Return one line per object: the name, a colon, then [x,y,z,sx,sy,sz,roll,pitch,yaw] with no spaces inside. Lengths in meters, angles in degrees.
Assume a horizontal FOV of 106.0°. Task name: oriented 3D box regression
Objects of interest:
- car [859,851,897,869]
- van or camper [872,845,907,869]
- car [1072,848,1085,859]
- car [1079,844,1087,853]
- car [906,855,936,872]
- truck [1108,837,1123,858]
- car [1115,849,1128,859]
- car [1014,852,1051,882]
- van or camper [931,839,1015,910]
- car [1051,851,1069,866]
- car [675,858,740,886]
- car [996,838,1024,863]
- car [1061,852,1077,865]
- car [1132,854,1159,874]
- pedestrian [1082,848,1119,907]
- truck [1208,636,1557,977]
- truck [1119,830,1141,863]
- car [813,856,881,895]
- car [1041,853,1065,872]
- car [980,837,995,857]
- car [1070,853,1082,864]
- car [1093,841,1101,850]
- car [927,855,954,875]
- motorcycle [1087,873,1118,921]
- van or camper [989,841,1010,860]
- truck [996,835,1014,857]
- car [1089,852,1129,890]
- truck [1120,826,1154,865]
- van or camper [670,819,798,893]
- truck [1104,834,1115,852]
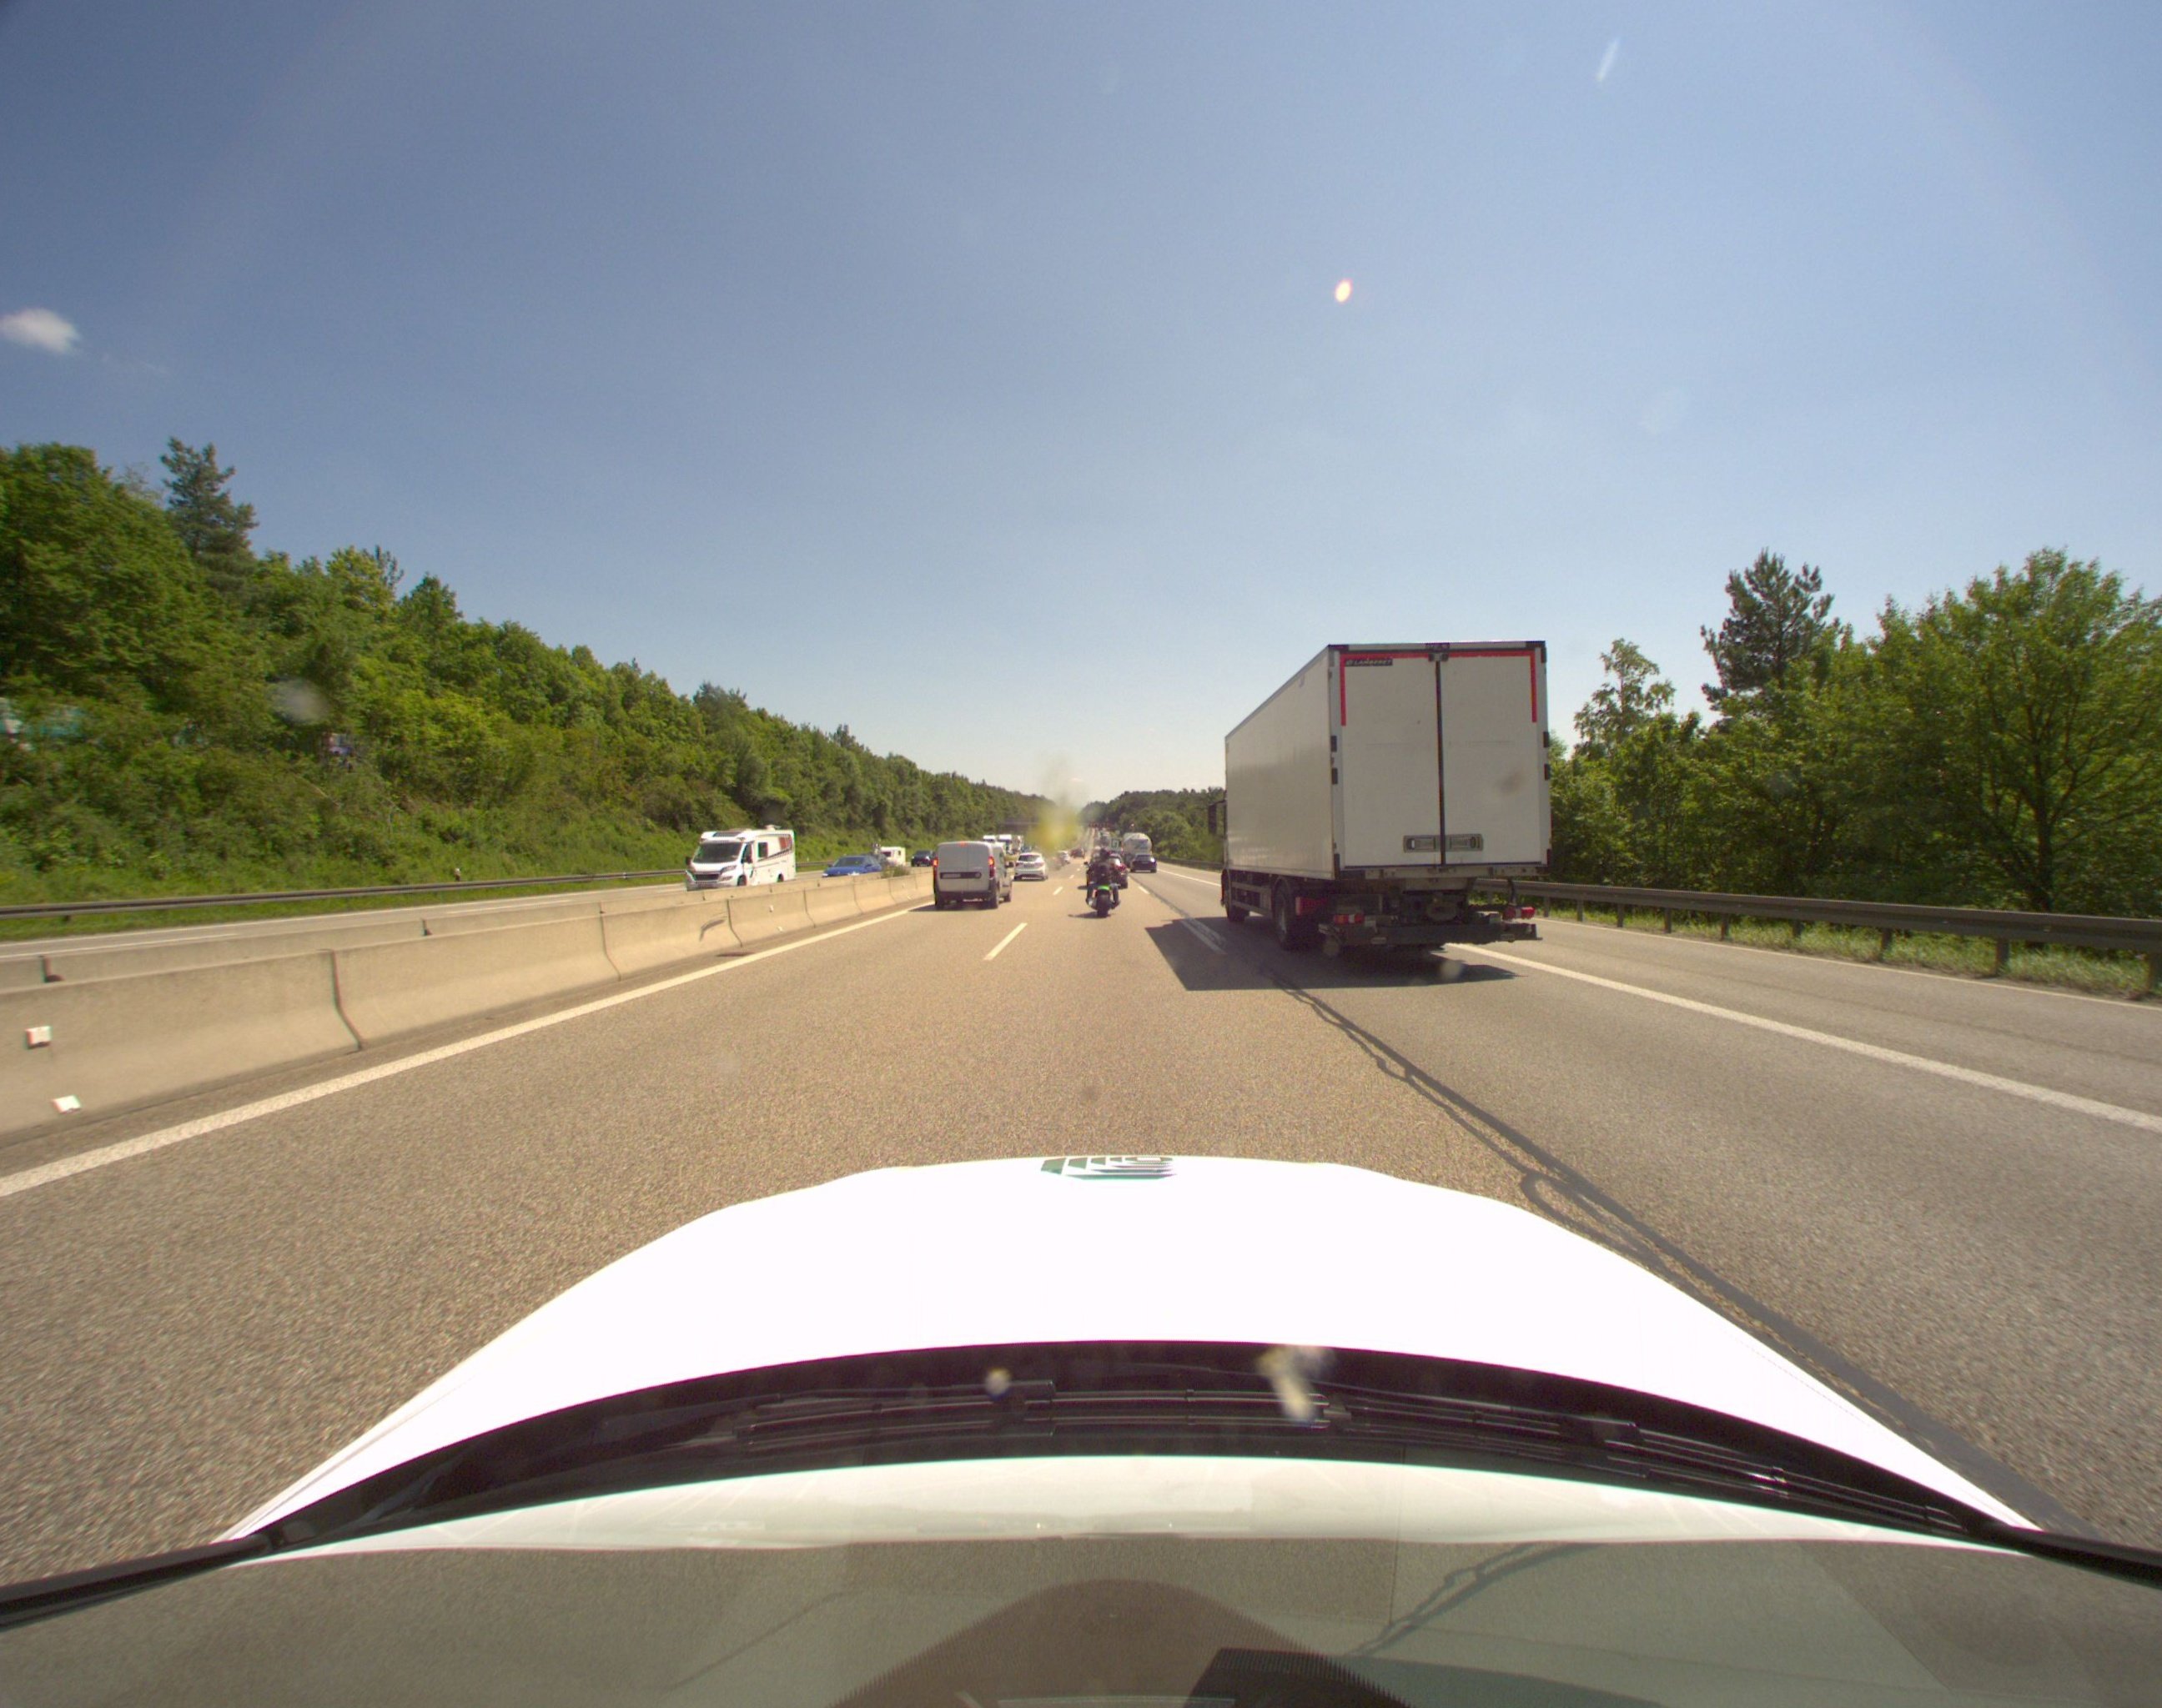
car: [-16.585,0.460,66.736,1.794,1.347,4.725,-1,0,1]
van or camper: [-16.783,0.225,71.472,2.068,1.976,3.706,-1,0,2]
car: [-0.387,-0.067,135.041,1.873,1.859,4.001,1,0,1]
car: [0.504,-1.394,208.020,1.922,2.014,4.001,-1,0,2]
car: [-16.310,0.899,83.131,1.918,1.639,4.929,-1,0,1]
truck: [7.549,-1.422,180.133,3.022,4.542,9.985,2,1,1]
car: [6.139,0.012,123.405,1.781,1.555,3.804,1,1,1]
car: [-2.613,0.679,44.663,1.693,1.478,4.001,1,1,1]
van or camper: [-3.095,0.566,24.141,1.789,1.892,4.161,-1,0,2]
car: [-2.129,0.470,83.328,1.693,1.478,4.001,1,1,1]
car: [-21.466,1.006,47.036,1.571,1.462,4.390,-1,0,2]
car: [-5.771,-0.244,66.498,1.886,1.948,3.999,-1,0,-1]
car: [-1.365,0.472,95.382,1.693,1.478,4.001,1,1,1]
car: [4.922,0.747,62.682,1.822,1.470,4.001,1,1,1]
pedestrian: [0.482,0.559,19.556,0.846,1.362,0.962,-1,0,2]
truck: [4.271,-0.569,14.392,2.678,3.876,9.783,-2,0,2]
truck: [5.470,-0.806,91.918,1.988,3.522,4.748,-1,0,-1]
car: [-10.287,0.908,36.076,1.705,1.538,4.129,-1,0,1]
car: [-2.249,0.680,66.779,1.693,1.478,4.001,1,1,1]
car: [-19.466,-1.431,169.473,2.440,3.873,4.566,-1,0,1]
car: [-0.977,0.823,149.716,1.986,2.014,4.001,-1,0,2]
car: [4.880,-2.665,244.607,2.495,2.587,5.017,1,1,1]
car: [-12.942,0.980,75.157,1.687,1.683,4.197,-1,0,1]
motorcycle: [0.539,0.998,19.550,0.689,1.015,2.123,1,0,2]
van or camper: [-12.244,-0.490,122.269,2.222,2.761,6.838,-1,0,1]
truck: [-15.038,-1.599,161.246,2.831,4.214,5.661,0,0,1]
car: [1.283,0.689,35.409,1.526,1.510,4.005,-1,0,4]
truck: [5.581,-0.753,82.868,2.977,3.671,9.289,-1,0,1]
van or camper: [-14.194,0.083,33.972,2.262,2.735,6.807,-1,0,1]
truck: [8.459,-3.284,242.667,3.022,5.139,9.985,2,1,1]
